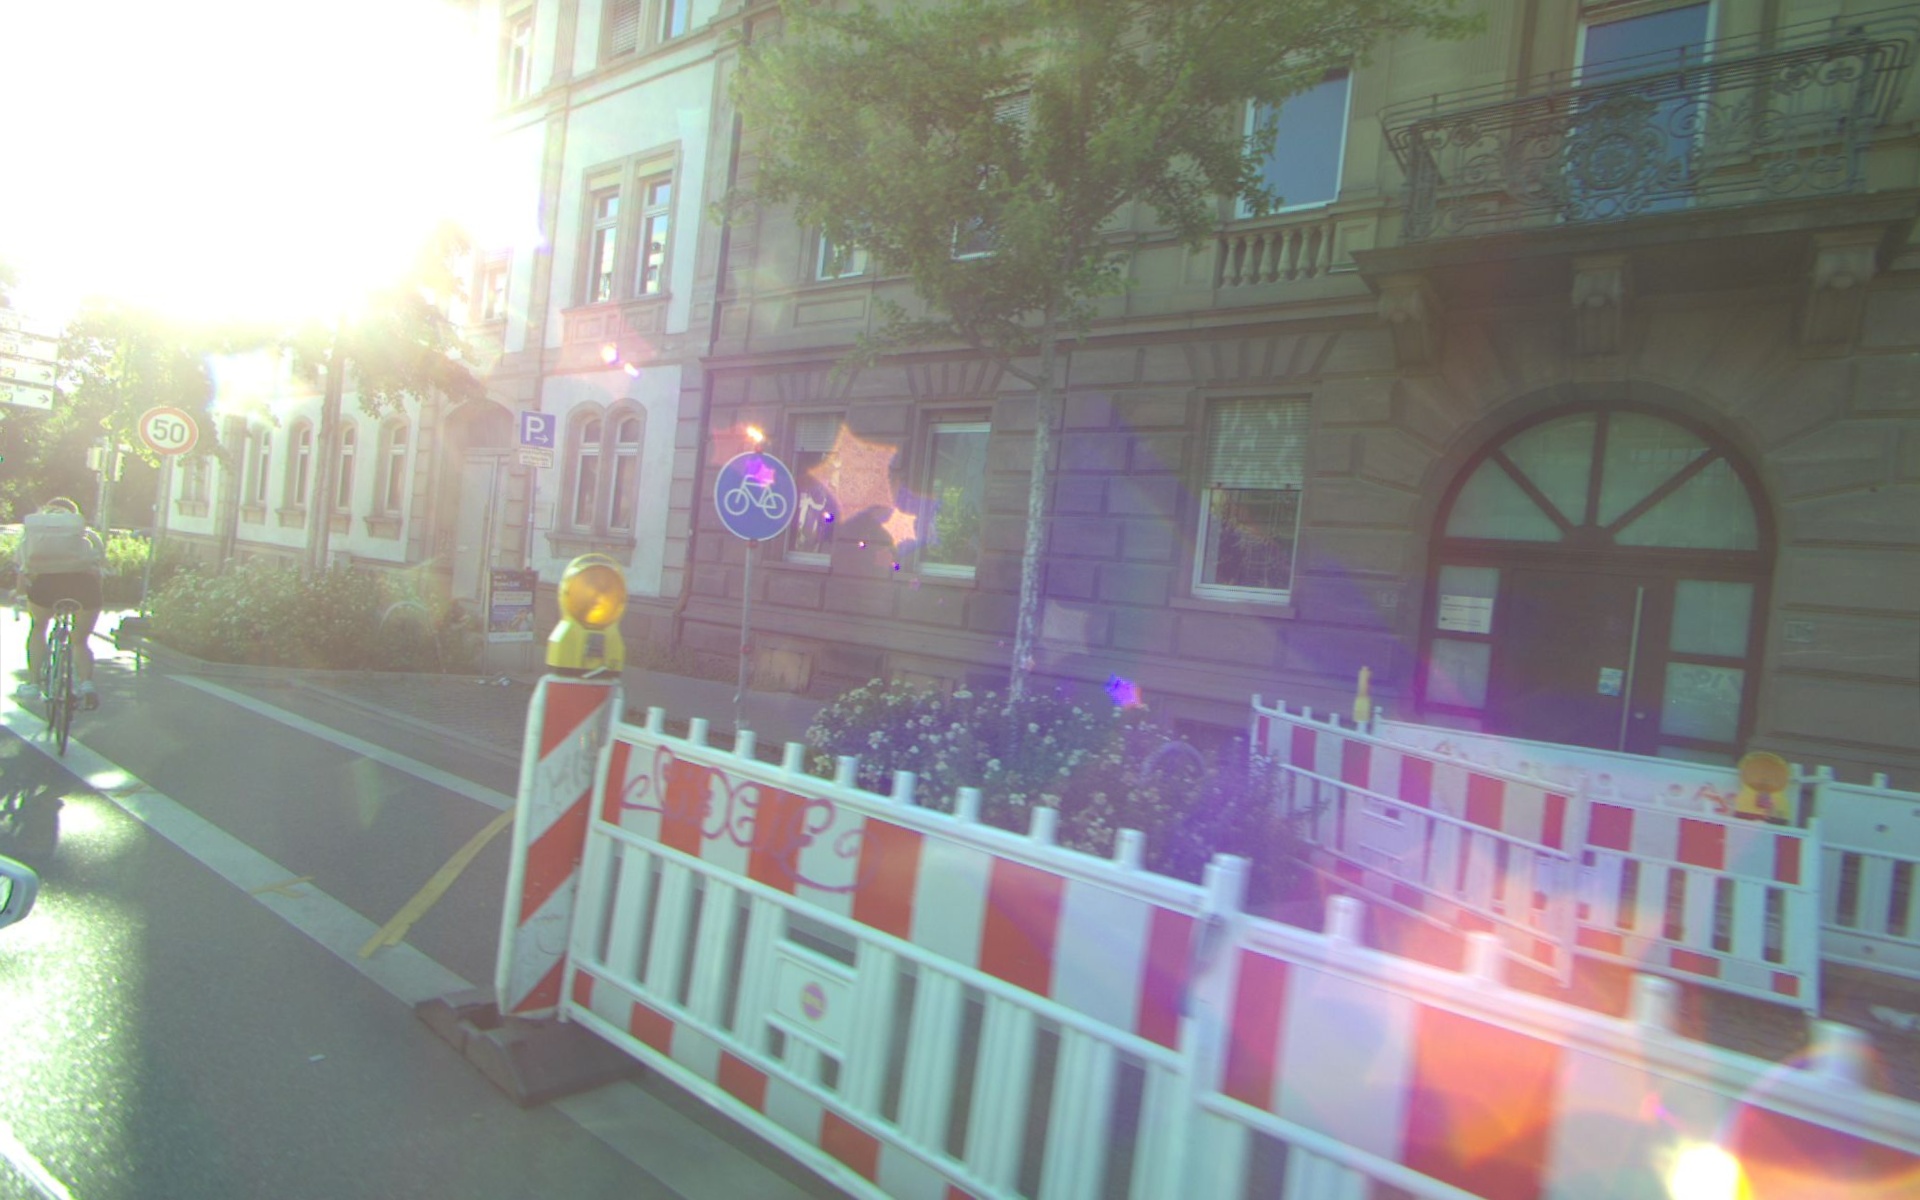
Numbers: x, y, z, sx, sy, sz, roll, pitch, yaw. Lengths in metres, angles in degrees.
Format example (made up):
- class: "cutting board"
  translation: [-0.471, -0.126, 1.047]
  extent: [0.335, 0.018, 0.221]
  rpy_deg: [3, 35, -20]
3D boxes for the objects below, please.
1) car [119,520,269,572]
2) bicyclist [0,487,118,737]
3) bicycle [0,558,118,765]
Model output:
- class: "car"
  translation: [-31.320, -2.169, 41.310]
  extent: [4.549, 1.492, 1.890]
  rpy_deg: [7, -1, -29]
- class: "bicyclist"
  translation: [-5.991, 0.057, 6.593]
  extent: [0.550, 1.509, 1.067]
  rpy_deg: [6, 1, -44]
- class: "bicycle"
  translation: [-6.005, 0.352, 6.620]
  extent: [0.519, 1.111, 1.820]
  rpy_deg: [6, 1, -44]
